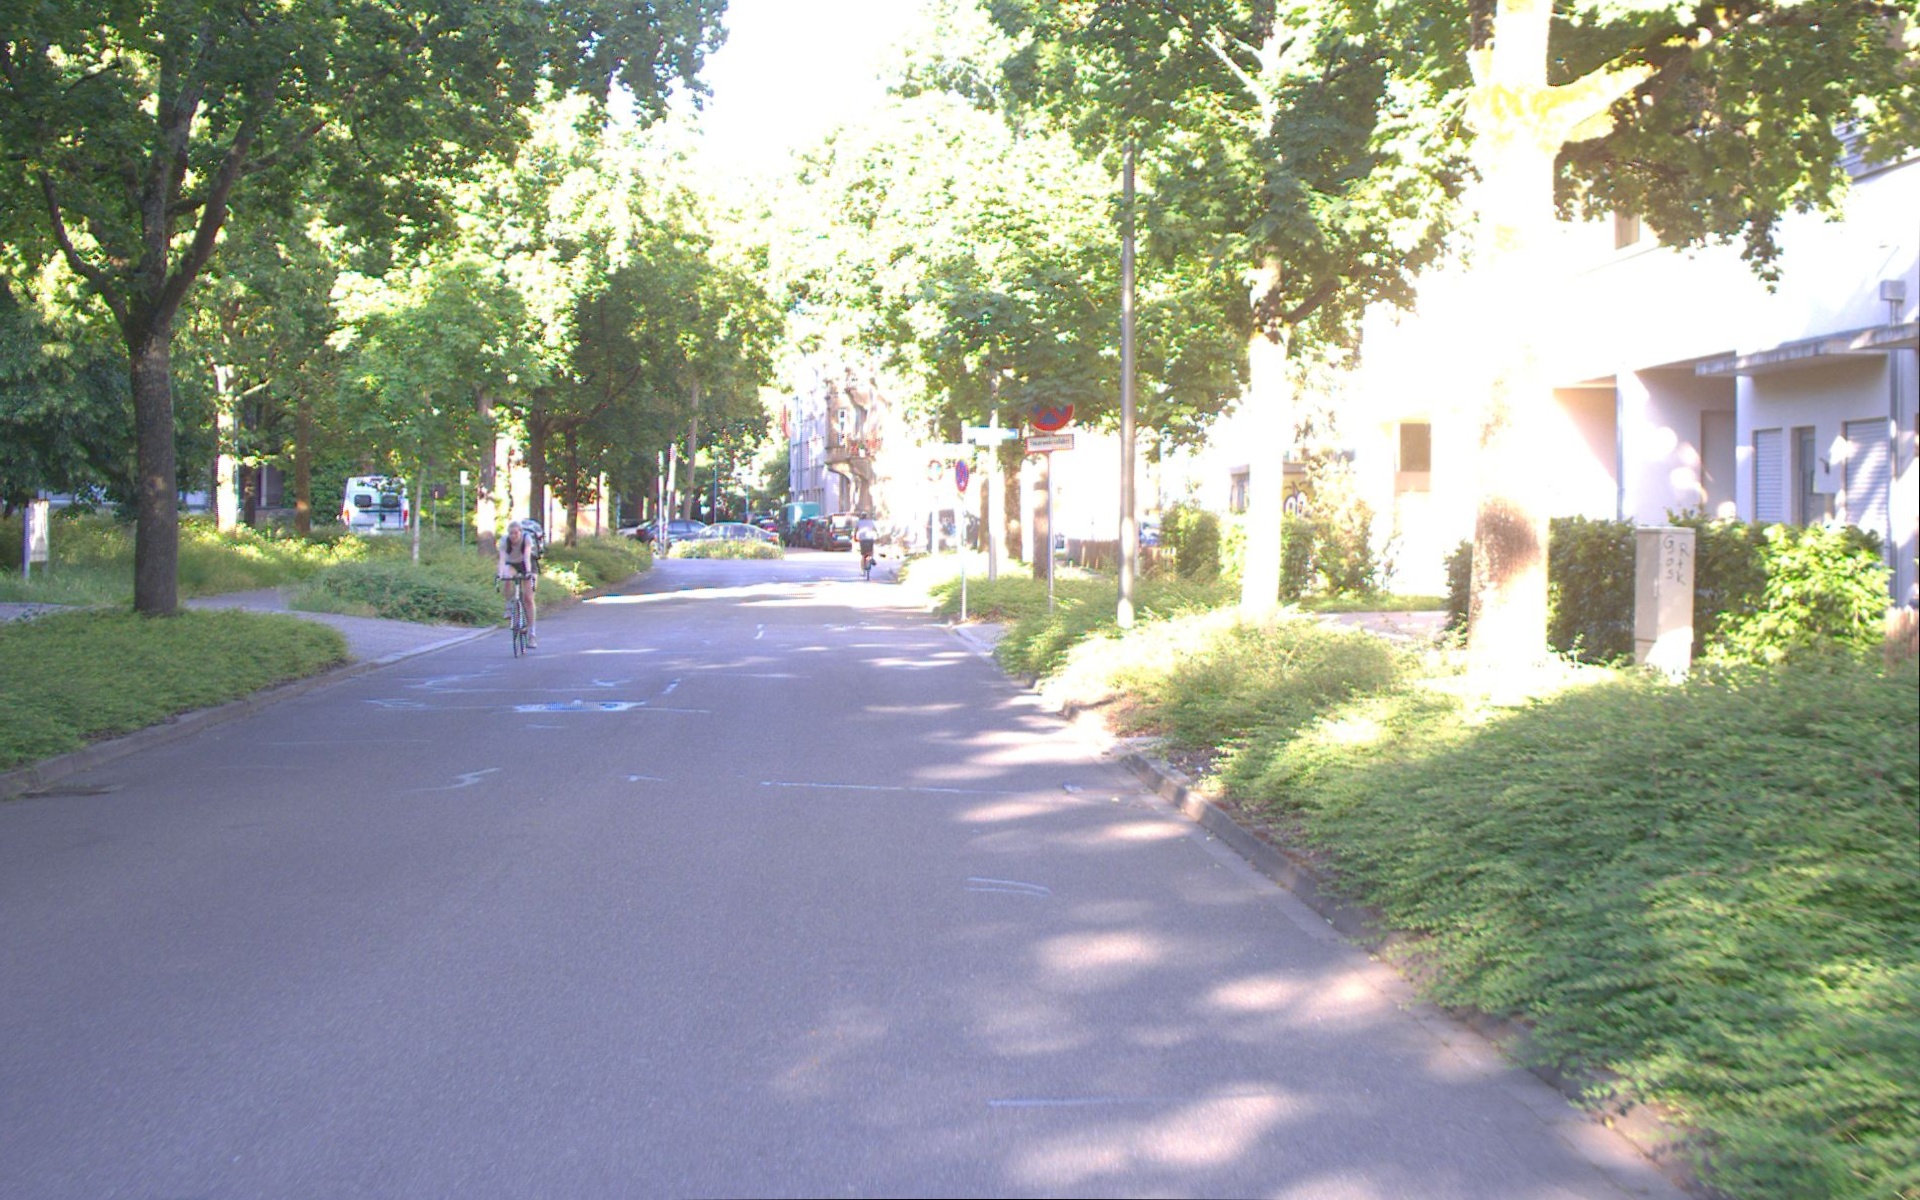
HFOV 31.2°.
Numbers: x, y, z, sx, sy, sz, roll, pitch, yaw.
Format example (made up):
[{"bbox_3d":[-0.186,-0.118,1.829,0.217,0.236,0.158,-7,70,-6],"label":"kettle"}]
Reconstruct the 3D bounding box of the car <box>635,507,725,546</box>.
[{"bbox_3d":[-11.659,-3.072,142.955,3.586,1.505,1.500,2,1,-10],"label":"car"}]

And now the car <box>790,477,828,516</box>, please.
[{"bbox_3d":[-8.214,-5.587,186.508,1.811,2.043,4.001,2,1,-6],"label":"car"}]

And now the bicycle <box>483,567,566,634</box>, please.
[{"bbox_3d":[-5.183,-0.004,41.023,0.639,0.739,2.126,-1,1,2],"label":"bicycle"}]

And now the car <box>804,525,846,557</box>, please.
[{"bbox_3d":[-6.685,-2.903,169.841,1.811,1.496,4.001,2,1,-6],"label":"car"}]

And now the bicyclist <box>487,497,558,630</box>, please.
[{"bbox_3d":[-5.195,-0.443,40.868,0.633,1.549,1.002,-1,1,3],"label":"bicyclist"}]

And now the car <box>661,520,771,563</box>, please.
[{"bbox_3d":[-9.297,-2.221,130.786,3.986,1.496,1.818,2,1,-10],"label":"car"}]

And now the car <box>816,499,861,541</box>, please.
[{"bbox_3d":[-5.708,-3.757,161.533,1.811,1.919,4.001,2,1,-6],"label":"car"}]

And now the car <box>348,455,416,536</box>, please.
[{"bbox_3d":[-18.382,-3.297,109.168,1.993,2.499,4.001,1,1,-11],"label":"car"}]

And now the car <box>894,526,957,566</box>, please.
[{"bbox_3d":[-1.353,-2.098,133.189,1.811,1.496,4.001,0,1,-9],"label":"car"}]
